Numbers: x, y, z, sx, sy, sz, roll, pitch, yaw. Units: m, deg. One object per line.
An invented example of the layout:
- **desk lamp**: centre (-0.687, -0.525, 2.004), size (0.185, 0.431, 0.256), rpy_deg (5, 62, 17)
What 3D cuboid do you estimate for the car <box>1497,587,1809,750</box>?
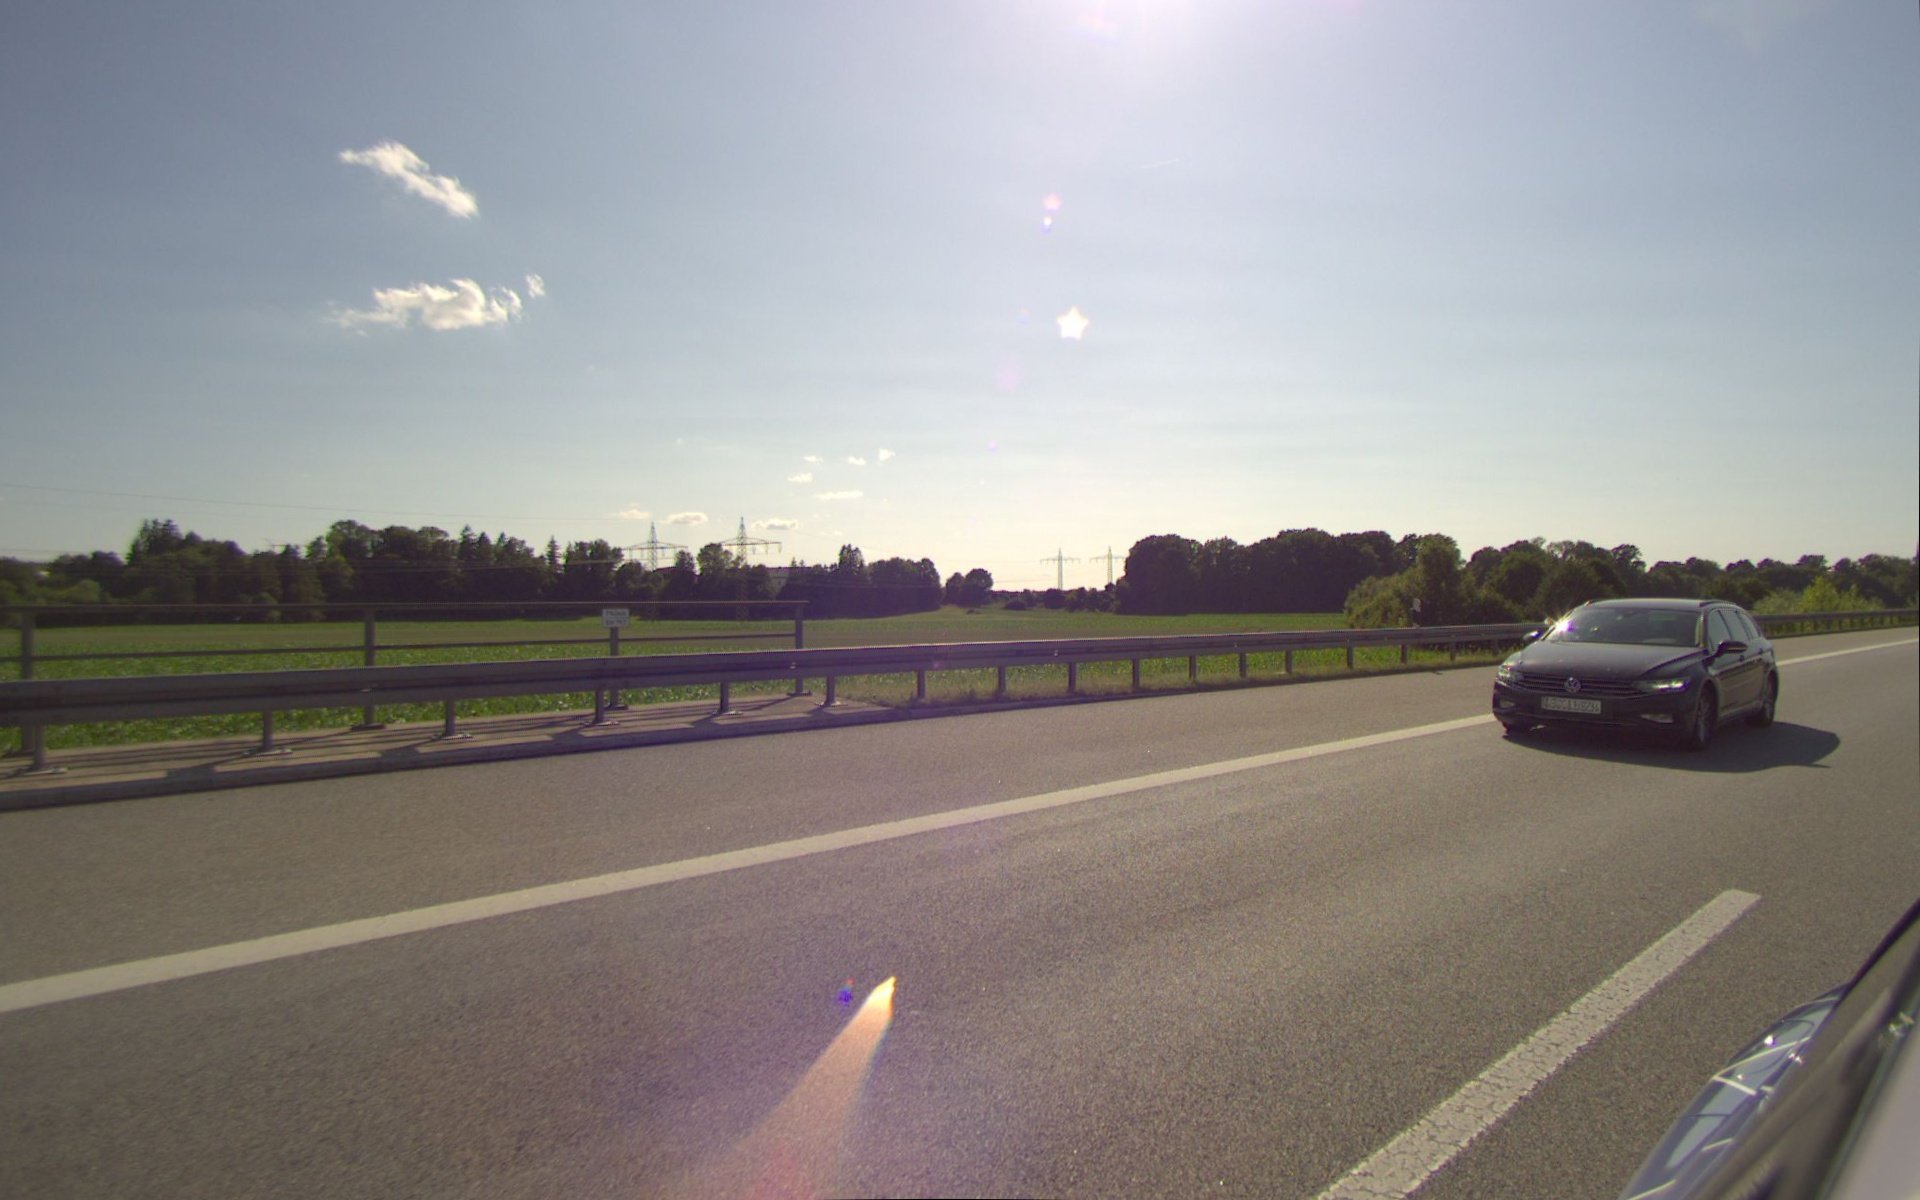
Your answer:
- **car**: centre (7.744, 0.590, 11.147), size (4.335, 1.417, 1.722), rpy_deg (-1, 1, -40)
